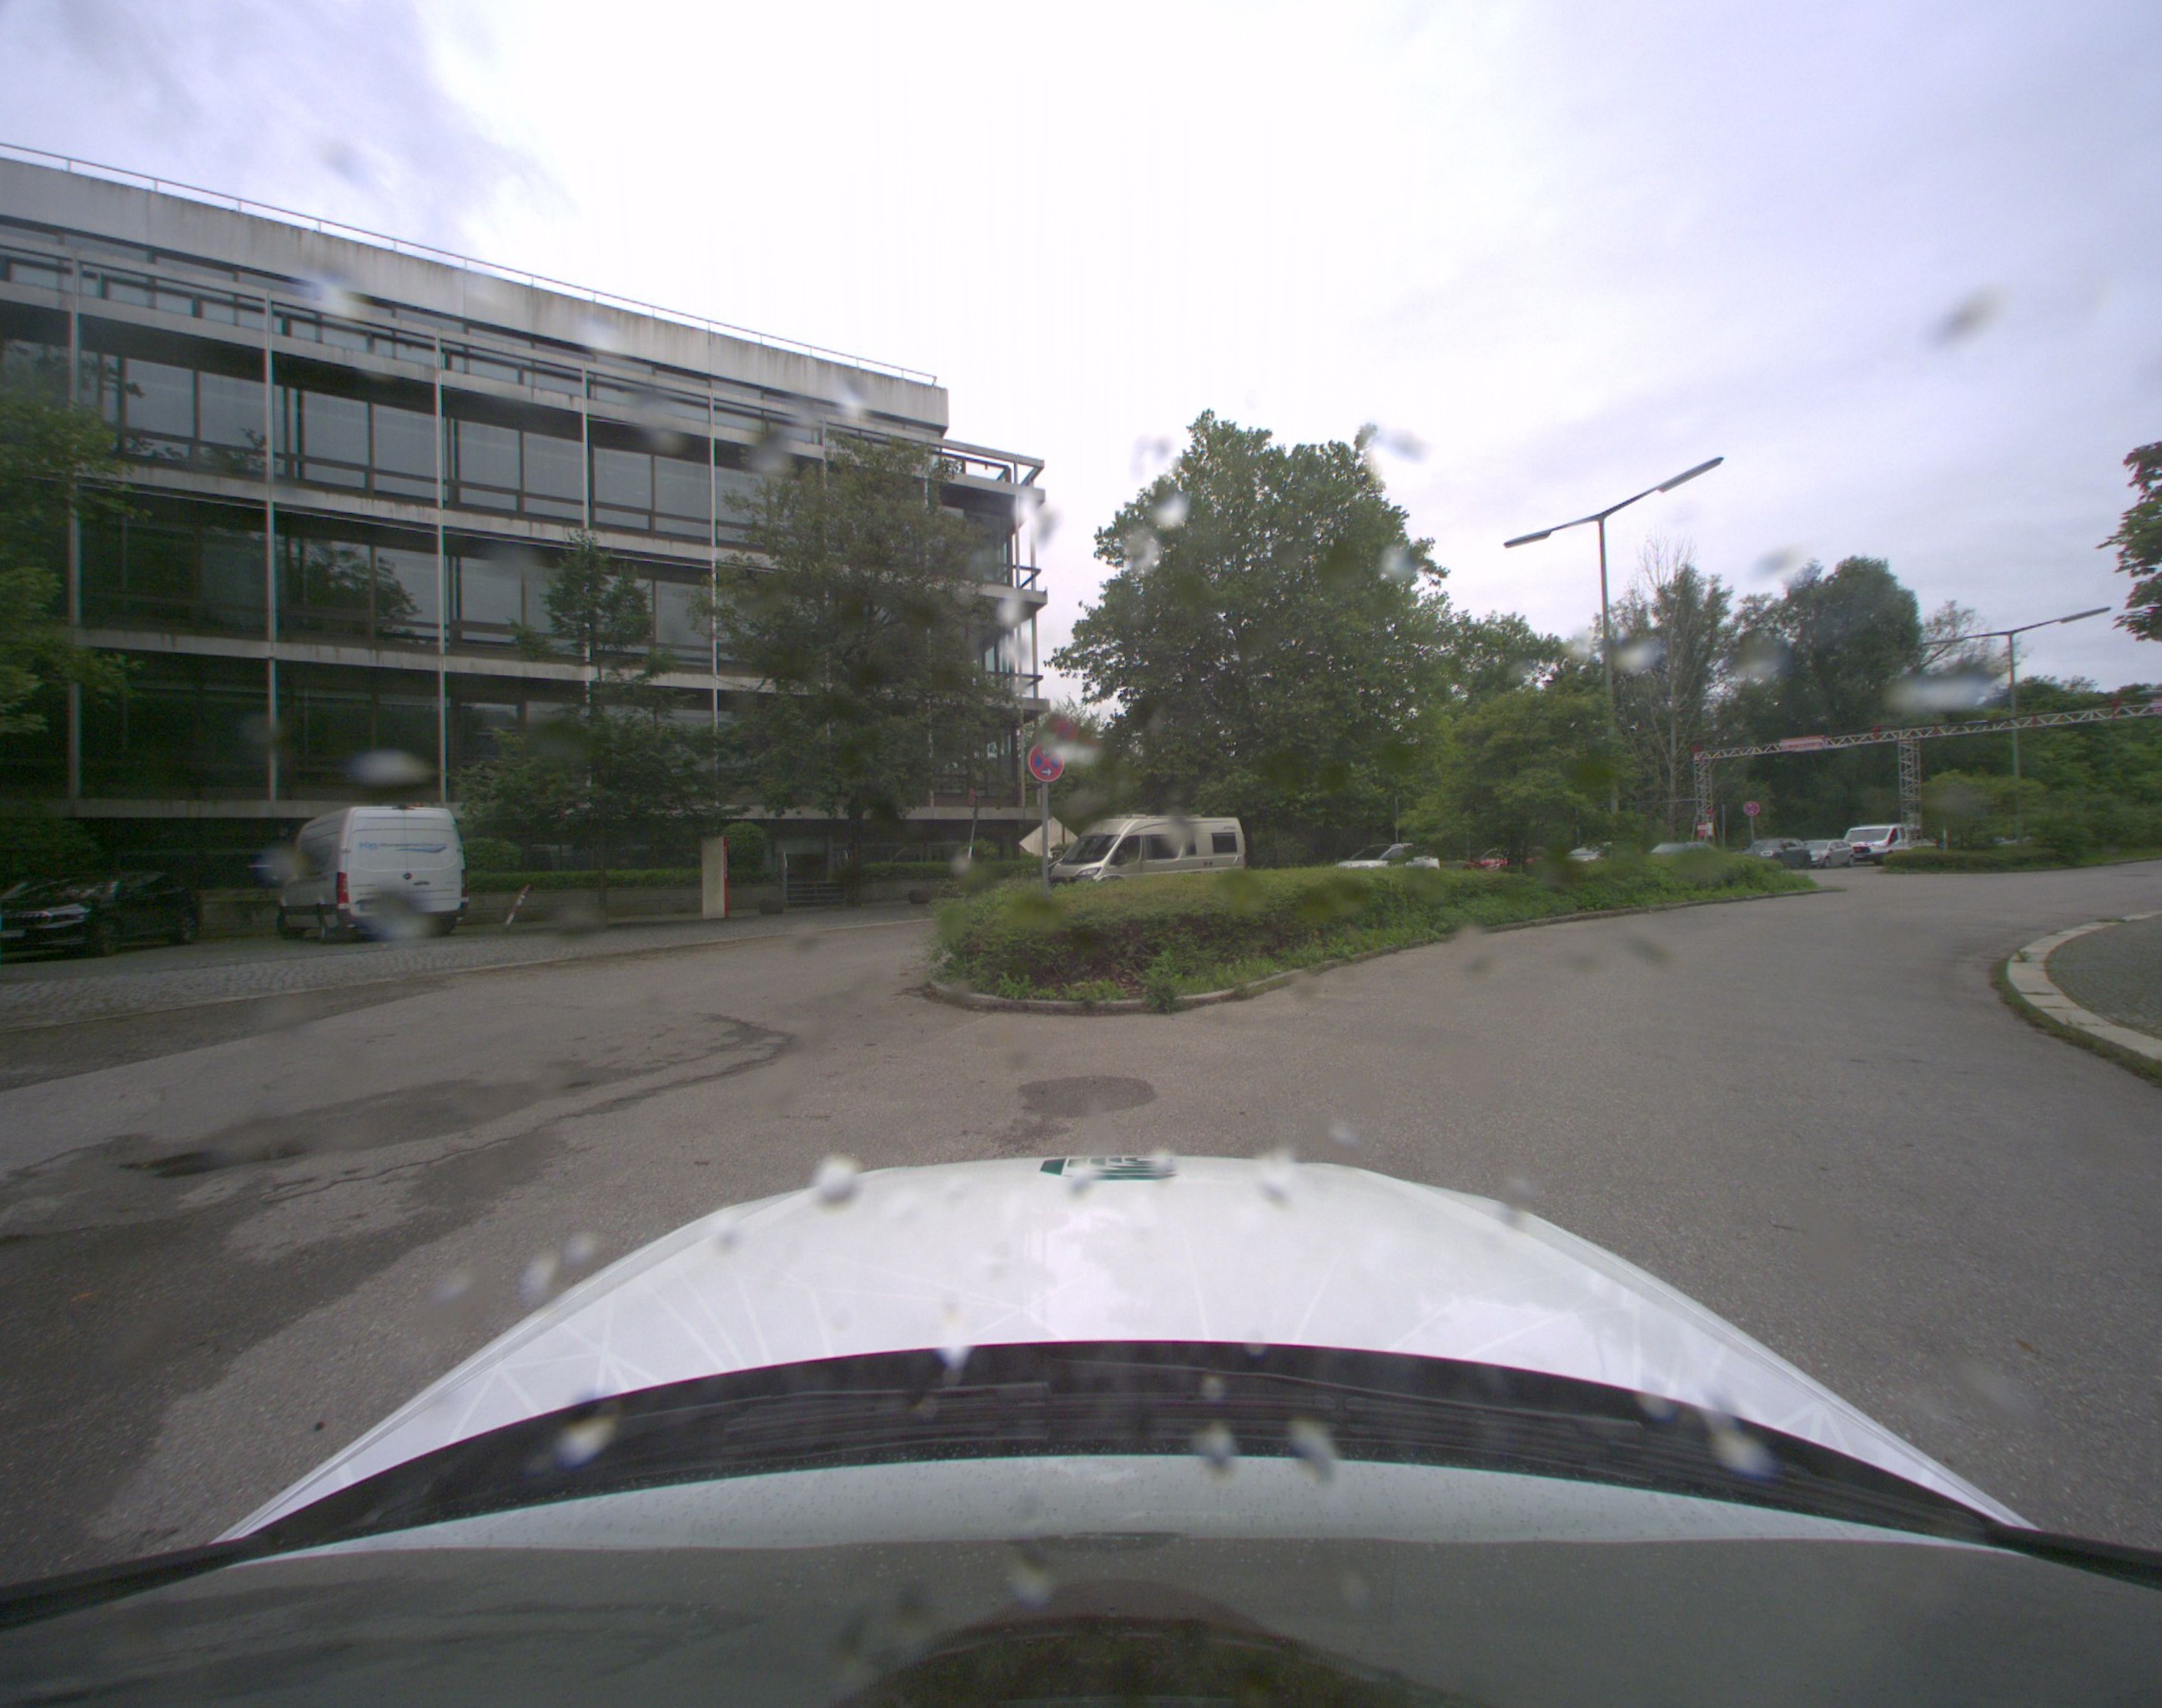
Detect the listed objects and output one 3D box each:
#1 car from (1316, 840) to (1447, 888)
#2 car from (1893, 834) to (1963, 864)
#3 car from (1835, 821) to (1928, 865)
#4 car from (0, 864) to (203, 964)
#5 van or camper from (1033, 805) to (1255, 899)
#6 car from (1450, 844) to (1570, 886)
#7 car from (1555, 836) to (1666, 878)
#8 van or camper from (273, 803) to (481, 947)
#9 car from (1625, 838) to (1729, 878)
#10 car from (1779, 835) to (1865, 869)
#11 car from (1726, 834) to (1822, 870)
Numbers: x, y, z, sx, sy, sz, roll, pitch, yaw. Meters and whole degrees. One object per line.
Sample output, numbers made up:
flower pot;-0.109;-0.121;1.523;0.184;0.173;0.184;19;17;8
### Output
car;10.363;0.324;28.083;4.007;1.508;1.983;-1;-1;-25
car;47.720;-0.289;45.880;4.010;1.611;1.718;-1;-1;-28
car;43.230;-0.592;43.962;4.882;2.227;2.186;-1;-1;-28
car;-19.664;1.094;16.098;1.954;1.721;4.198;-1;-1;-30
van or camper;1.917;-0.055;22.740;6.452;2.281;2.228;-1;-1;-40
car;16.176;0.398;30.729;4.007;1.409;1.983;-1;-1;-25
car;21.628;0.104;33.285;4.007;1.574;1.983;-1;-1;-25
van or camper;-15.225;0.536;17.438;6.454;2.581;2.176;-4;-3;38
car;26.092;0.173;35.659;4.007;1.574;1.983;-1;-1;-25
car;37.773;-0.110;41.486;4.010;1.574;1.982;-1;-1;-28
car;33.299;-0.096;39.133;4.007;1.574;1.983;-1;-1;-25
